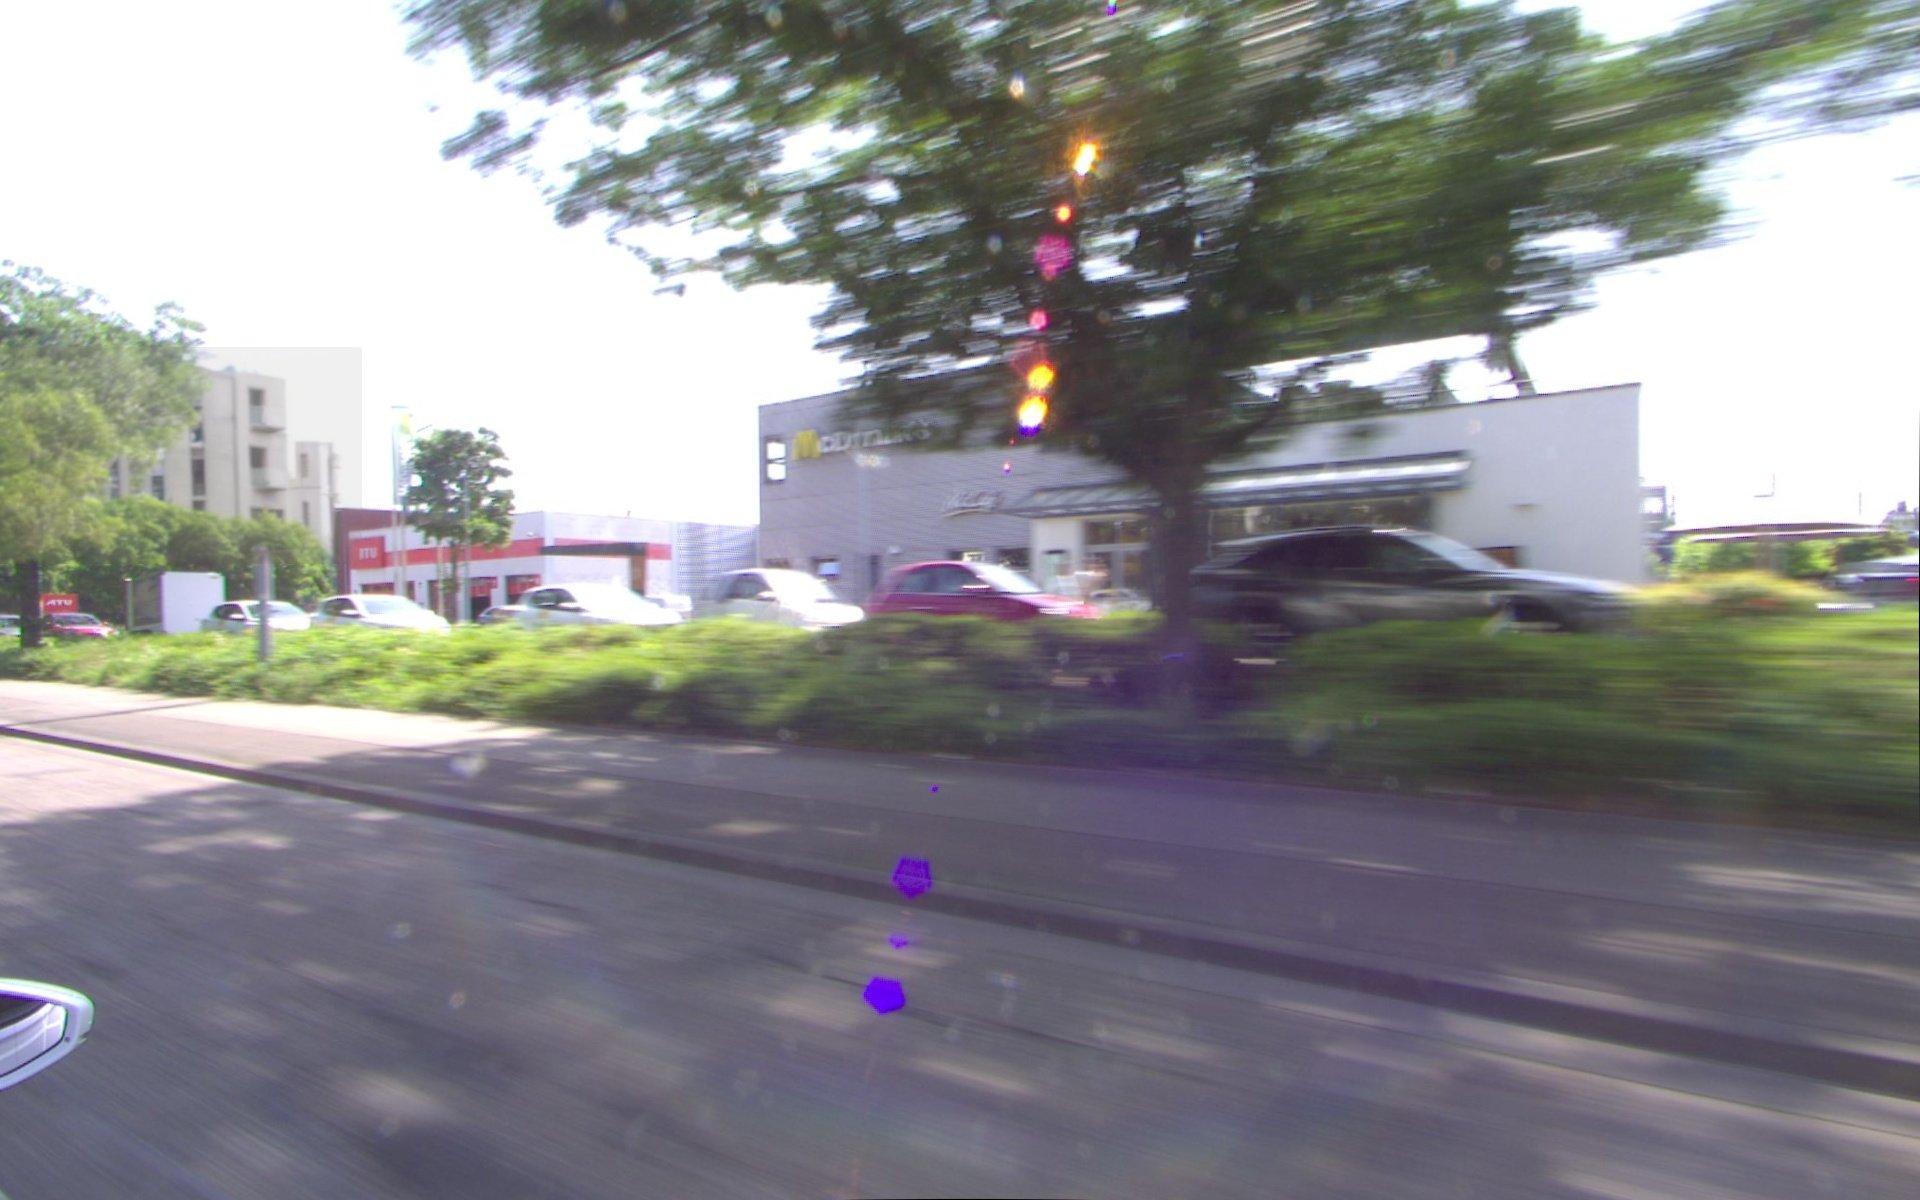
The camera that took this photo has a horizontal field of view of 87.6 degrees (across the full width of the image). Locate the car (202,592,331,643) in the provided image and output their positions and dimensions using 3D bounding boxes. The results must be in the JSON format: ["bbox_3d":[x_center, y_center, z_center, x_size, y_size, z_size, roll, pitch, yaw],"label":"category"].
[{"bbox_3d":[-18.703,0.495,26.979,3.579,1.269,1.616,-2,-1,33],"label":"car"}]

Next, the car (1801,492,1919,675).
[{"bbox_3d":[10.497,-0.174,7.931,5.507,1.470,1.907,-1,-1,23],"label":"car"}]

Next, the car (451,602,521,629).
[{"bbox_3d":[-24.535,0.783,51.822,3.551,1.325,1.705,-1,0,35],"label":"car"}]

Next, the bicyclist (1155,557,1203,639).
[{"bbox_3d":[4.966,-0.045,22.660,0.851,1.828,0.776,0,1,31],"label":"bicyclist"}]

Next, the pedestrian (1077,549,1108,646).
[{"bbox_3d":[2.708,-0.053,20.418,0.403,1.947,0.580,0,1,33],"label":"pedestrian"}]

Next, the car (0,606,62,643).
[{"bbox_3d":[-37.798,0.957,40.182,3.851,1.398,1.697,-1,0,33],"label":"car"}]

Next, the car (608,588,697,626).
[{"bbox_3d":[-15.299,0.359,49.696,4.567,1.829,1.705,-1,0,34],"label":"car"}]

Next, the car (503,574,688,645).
[{"bbox_3d":[-7.217,0.237,19.686,3.818,1.269,1.613,-2,-1,37],"label":"car"}]

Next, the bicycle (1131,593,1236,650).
[{"bbox_3d":[5.040,0.477,22.622,2.211,1.242,0.689,-1,1,32],"label":"bicycle"}]

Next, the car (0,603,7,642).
[{"bbox_3d":[-42.679,1.000,43.105,3.854,1.659,1.695,-2,-1,35],"label":"car"}]

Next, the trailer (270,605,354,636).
[{"bbox_3d":[-35.707,1.084,55.245,1.394,1.603,3.593,0,0,35],"label":"trailer"}]

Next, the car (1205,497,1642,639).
[{"bbox_3d":[4.975,-0.226,11.025,4.142,1.268,1.615,-2,-3,34],"label":"car"}]

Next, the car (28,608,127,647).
[{"bbox_3d":[-32.700,0.993,37.082,4.263,1.398,1.697,-1,0,33],"label":"car"}]

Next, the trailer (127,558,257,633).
[{"bbox_3d":[-23.353,-0.096,30.359,5.412,2.082,1.695,-1,0,36],"label":"trailer"}]

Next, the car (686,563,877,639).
[{"bbox_3d":[-2.934,0.057,16.401,2.815,1.137,1.504,-2,-1,32],"label":"car"}]

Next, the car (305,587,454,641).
[{"bbox_3d":[-13.767,0.355,23.711,3.686,1.173,1.590,-2,-1,34],"label":"car"}]

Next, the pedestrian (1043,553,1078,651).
[{"bbox_3d":[2.030,0.038,20.218,0.527,1.947,0.465,0,1,33],"label":"pedestrian"}]

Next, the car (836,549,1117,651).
[{"bbox_3d":[0.175,0.058,14.174,3.712,1.269,1.615,-2,-1,34],"label":"car"}]
